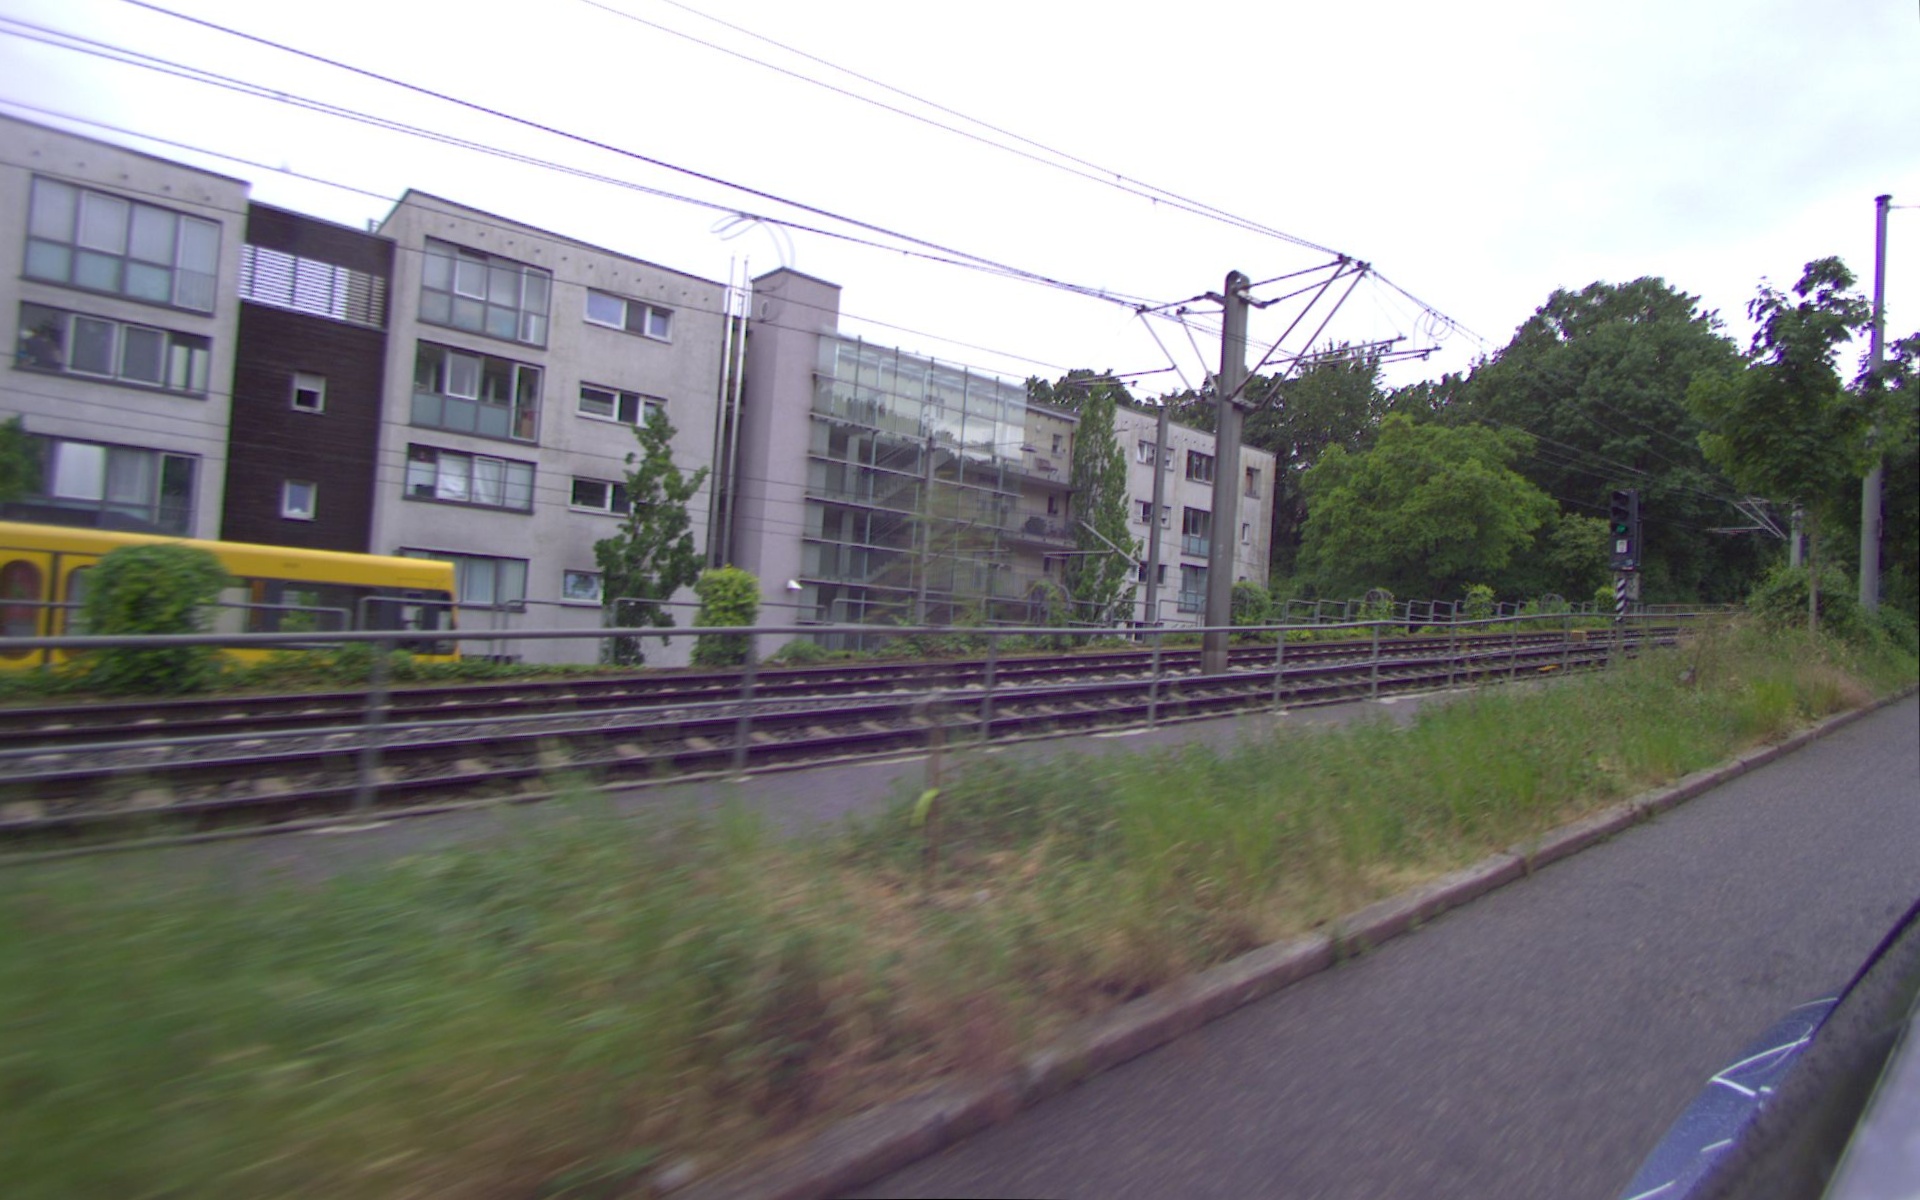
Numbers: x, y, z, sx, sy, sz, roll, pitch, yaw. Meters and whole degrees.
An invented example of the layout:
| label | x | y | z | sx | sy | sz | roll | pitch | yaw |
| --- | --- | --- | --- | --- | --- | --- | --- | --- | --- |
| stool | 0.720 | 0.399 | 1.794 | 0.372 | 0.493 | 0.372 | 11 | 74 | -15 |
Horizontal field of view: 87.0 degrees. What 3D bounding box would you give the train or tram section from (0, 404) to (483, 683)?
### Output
| label | x | y | z | sx | sy | sz | roll | pitch | yaw |
| --- | --- | --- | --- | --- | --- | --- | --- | --- | --- |
| train or tram section | -17.090 | -0.816 | 13.856 | 18.944 | 3.997 | 3.336 | 0 | 1 | -41 |
